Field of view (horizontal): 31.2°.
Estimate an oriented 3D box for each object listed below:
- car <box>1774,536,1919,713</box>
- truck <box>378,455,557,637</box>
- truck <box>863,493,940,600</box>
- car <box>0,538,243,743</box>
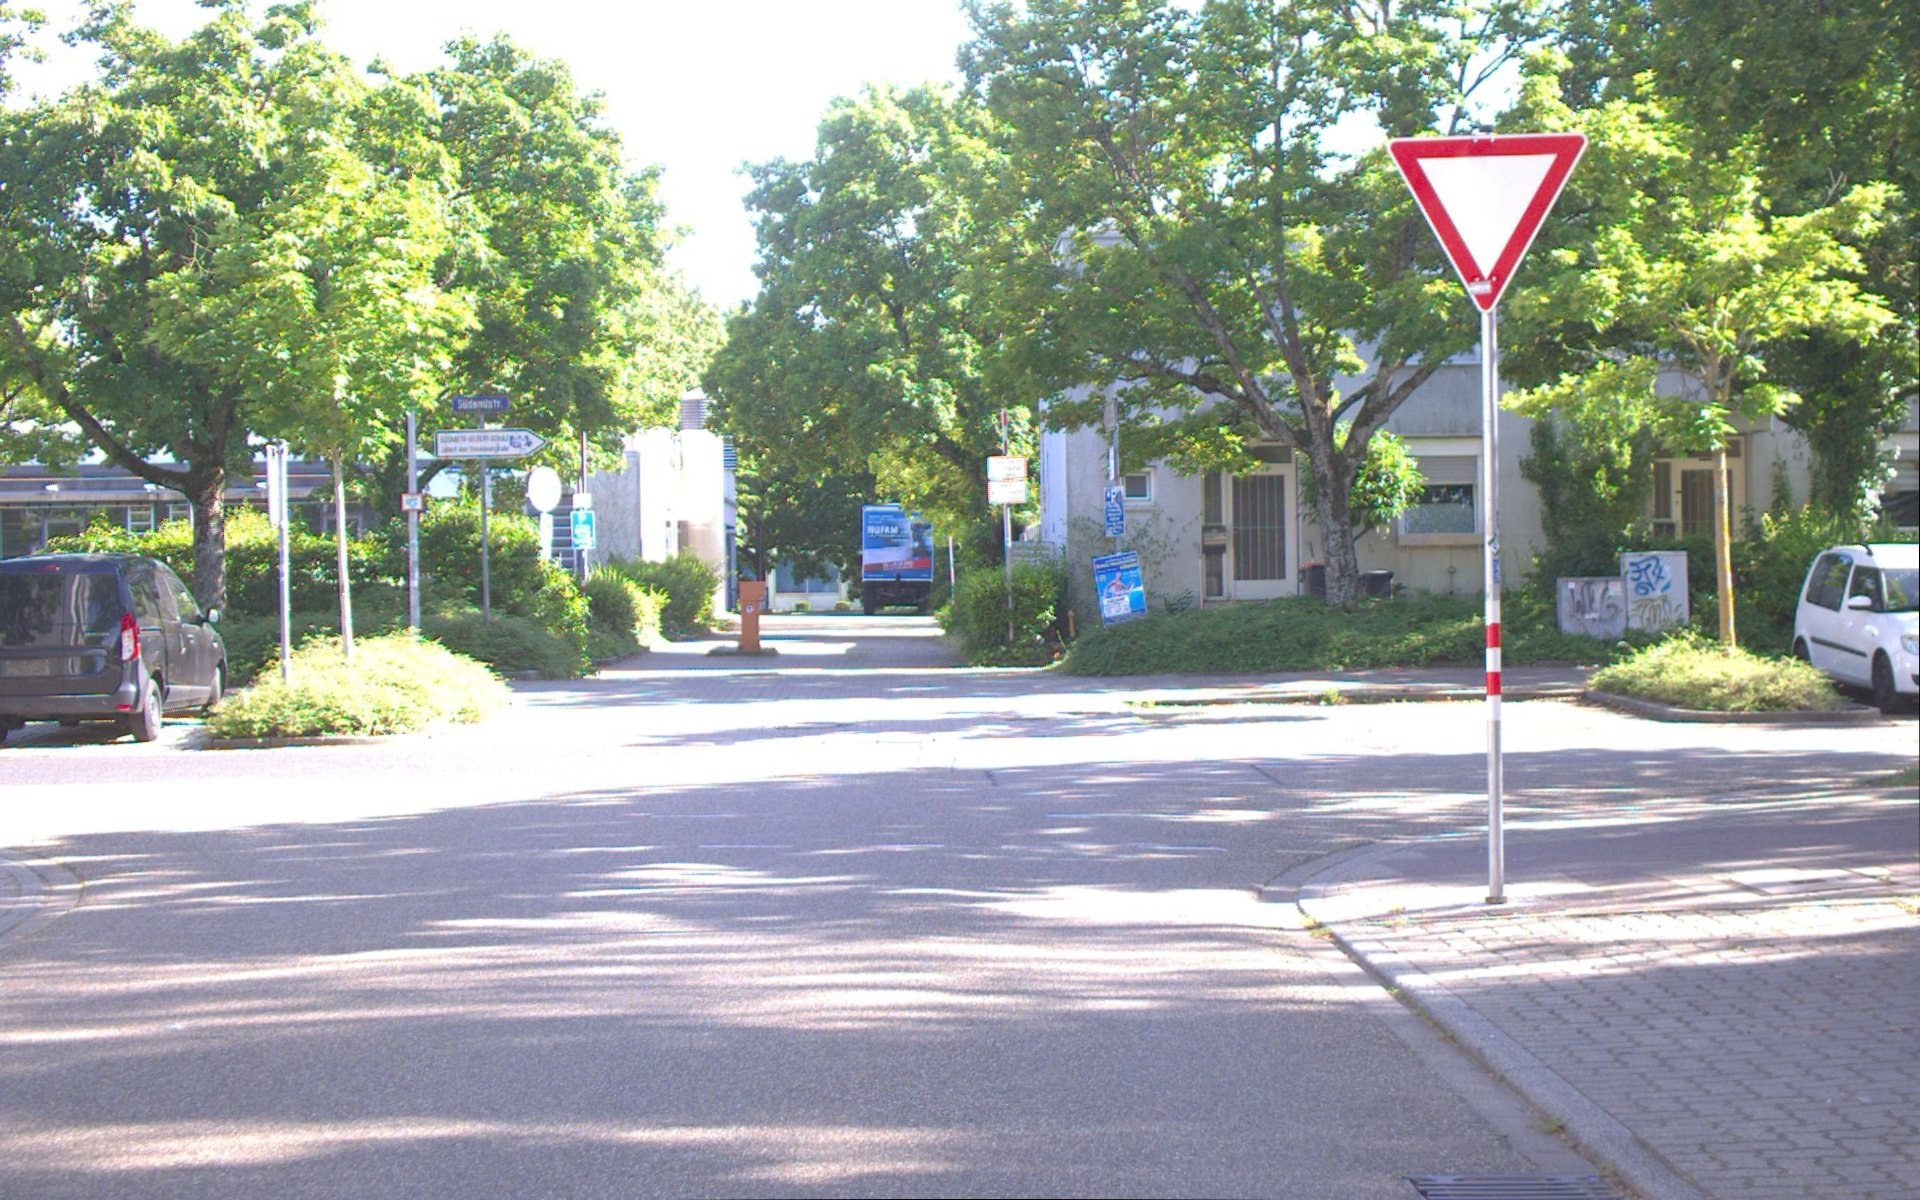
[{"bbox_3d":[9.639,0.185,34.377,1.823,1.592,4.169,-1,2,-3],"label":"car"},{"bbox_3d":[-10.715,-1.180,75.373,2.802,3.793,6.924,0,1,1],"label":"truck"},{"bbox_3d":[-2.162,-2.009,129.056,2.760,3.856,9.330,0,1,0],"label":"truck"},{"bbox_3d":[-8.519,0.346,34.285,1.874,1.840,4.169,-1,2,-1],"label":"car"}]
